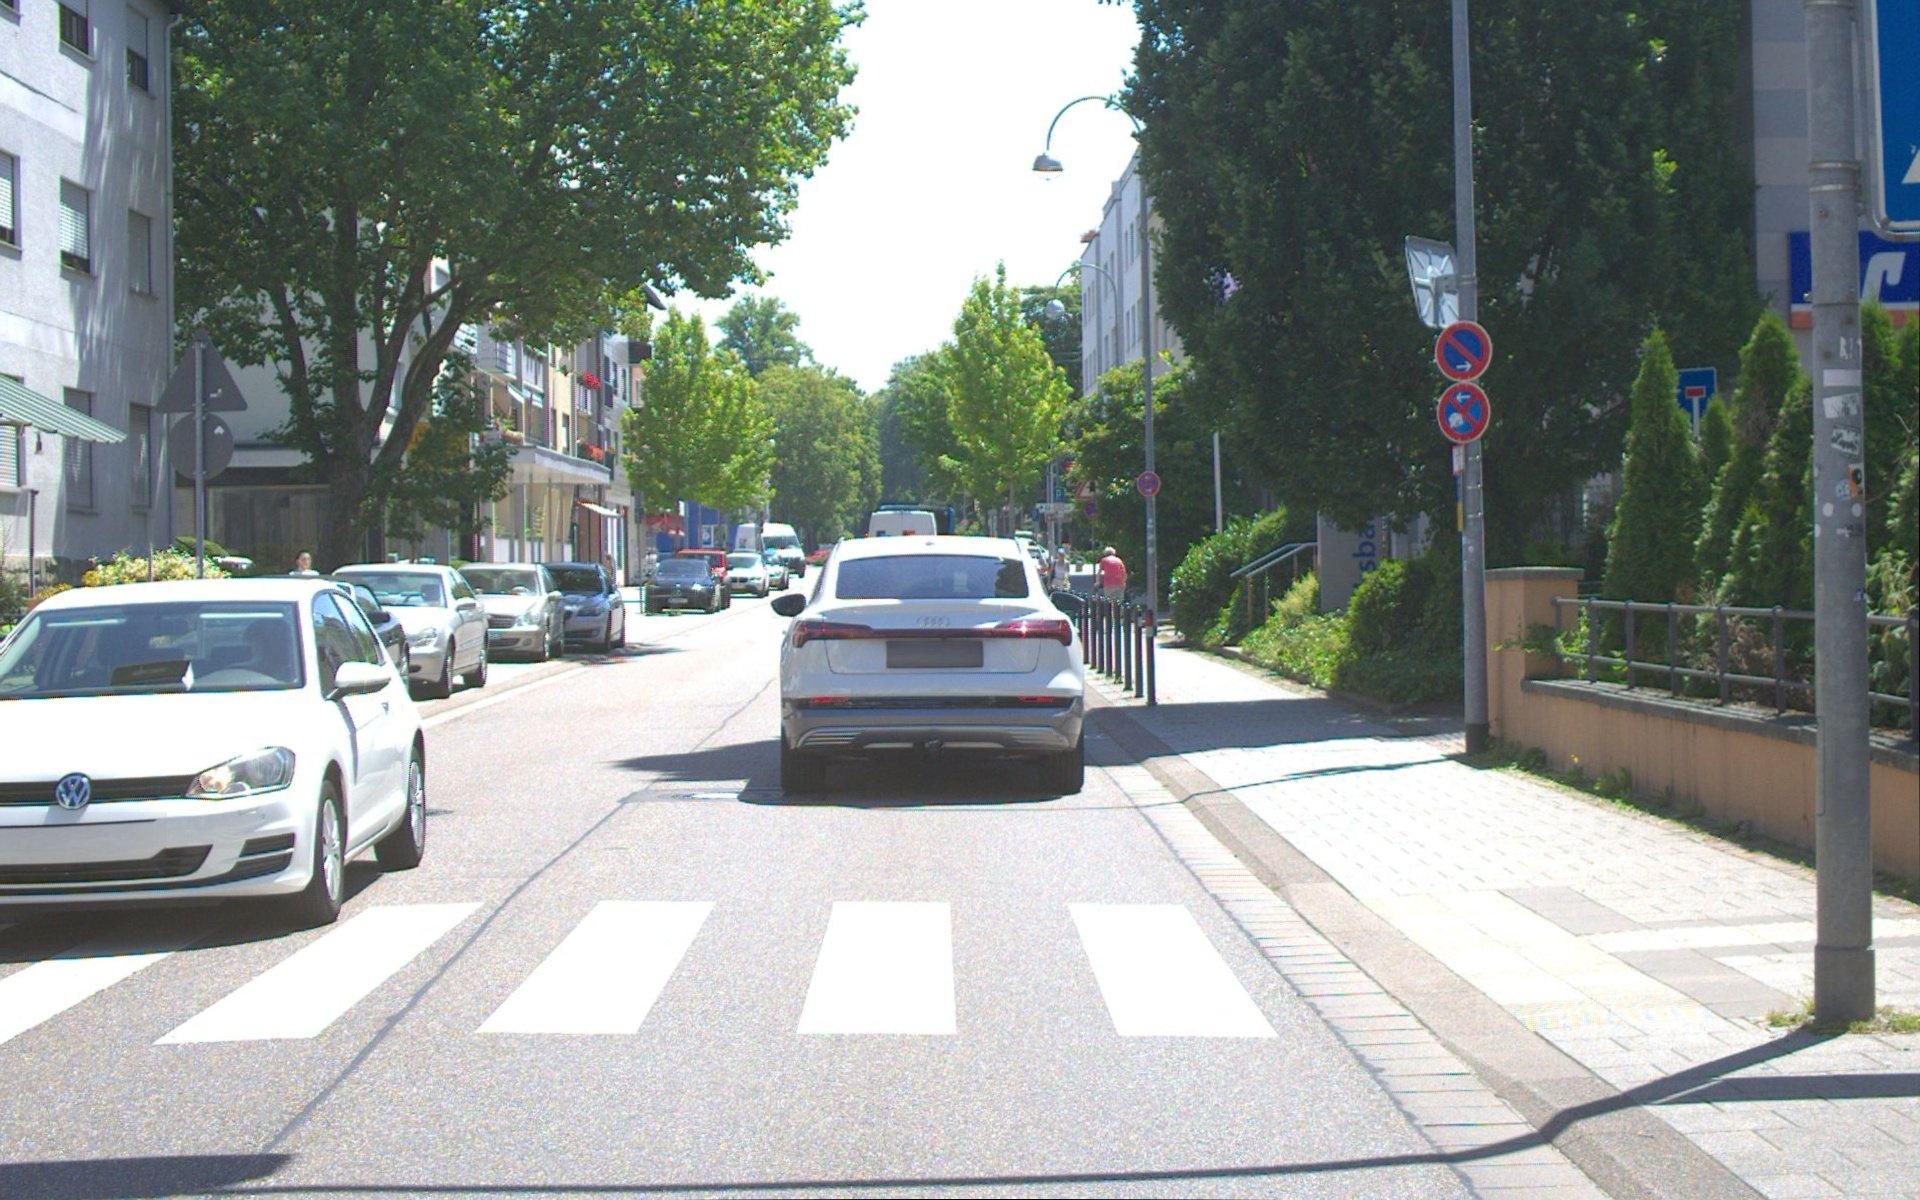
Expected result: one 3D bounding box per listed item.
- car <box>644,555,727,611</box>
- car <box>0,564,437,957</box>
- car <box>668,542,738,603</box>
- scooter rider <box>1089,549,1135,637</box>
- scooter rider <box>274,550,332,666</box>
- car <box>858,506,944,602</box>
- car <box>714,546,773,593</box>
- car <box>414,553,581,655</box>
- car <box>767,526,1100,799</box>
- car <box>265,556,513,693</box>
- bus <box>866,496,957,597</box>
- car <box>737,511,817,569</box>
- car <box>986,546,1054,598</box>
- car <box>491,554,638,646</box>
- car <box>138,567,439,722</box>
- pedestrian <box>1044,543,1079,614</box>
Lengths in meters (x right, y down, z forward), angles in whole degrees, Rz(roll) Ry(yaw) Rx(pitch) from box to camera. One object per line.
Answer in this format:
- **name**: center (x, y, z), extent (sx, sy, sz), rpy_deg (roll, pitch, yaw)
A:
- **car**: center (-7.340, -0.485, 92.362), extent (1.896, 1.412, 5.048), rpy_deg (1, 1, -1)
- **car**: center (-3.482, 0.614, 15.302), extent (1.807, 1.477, 3.870), rpy_deg (-2, 1, -2)
- **car**: center (-7.379, -0.801, 98.833), extent (1.752, 1.696, 4.102), rpy_deg (1, 1, -1)
- **scooter rider**: center (2.731, -0.135, 61.963), extent (0.716, 1.543, 0.770), rpy_deg (-2, 1, -2)
- **scooter rider**: center (-9.054, 0.103, 47.377), extent (0.588, 1.570, 0.877), rpy_deg (1, 1, 1)
- **car**: center (-1.537, -1.206, 91.178), extent (2.156, 2.433, 5.283), rpy_deg (1, 1, 0)
- **car**: center (-7.669, -1.094, 122.144), extent (1.752, 1.612, 4.401), rpy_deg (1, 1, 1)
- **car**: center (-6.857, 0.024, 51.393), extent (1.981, 1.447, 4.868), rpy_deg (0, 1, -2)
- **car**: center (-0.224, 0.346, 22.728), extent (1.993, 1.627, 4.000), rpy_deg (1, 1, -2)
- **car**: center (-6.495, 0.231, 39.672), extent (1.981, 1.447, 5.358), rpy_deg (0, 1, 0)
- **bus**: center (-1.591, -1.778, 115.679), extent (2.661, 3.210, 7.301), rpy_deg (1, 1, 2)
- **car**: center (-9.020, -2.921, 168.695), extent (2.036, 2.621, 7.109), rpy_deg (-3, 1, -18)
- **car**: center (1.743, -0.826, 99.579), extent (1.896, 1.433, 4.544), rpy_deg (-1, 1, 1)
- **car**: center (-6.536, -0.028, 57.290), extent (1.981, 1.447, 5.151), rpy_deg (0, 1, -2)
- **car**: center (-6.453, 0.377, 33.603), extent (1.942, 1.369, 5.098), rpy_deg (0, 1, 0)
- **pedestrian**: center (2.391, -0.503, 81.051), extent (0.700, 1.621, 0.784), rpy_deg (-4, 0, -2)
